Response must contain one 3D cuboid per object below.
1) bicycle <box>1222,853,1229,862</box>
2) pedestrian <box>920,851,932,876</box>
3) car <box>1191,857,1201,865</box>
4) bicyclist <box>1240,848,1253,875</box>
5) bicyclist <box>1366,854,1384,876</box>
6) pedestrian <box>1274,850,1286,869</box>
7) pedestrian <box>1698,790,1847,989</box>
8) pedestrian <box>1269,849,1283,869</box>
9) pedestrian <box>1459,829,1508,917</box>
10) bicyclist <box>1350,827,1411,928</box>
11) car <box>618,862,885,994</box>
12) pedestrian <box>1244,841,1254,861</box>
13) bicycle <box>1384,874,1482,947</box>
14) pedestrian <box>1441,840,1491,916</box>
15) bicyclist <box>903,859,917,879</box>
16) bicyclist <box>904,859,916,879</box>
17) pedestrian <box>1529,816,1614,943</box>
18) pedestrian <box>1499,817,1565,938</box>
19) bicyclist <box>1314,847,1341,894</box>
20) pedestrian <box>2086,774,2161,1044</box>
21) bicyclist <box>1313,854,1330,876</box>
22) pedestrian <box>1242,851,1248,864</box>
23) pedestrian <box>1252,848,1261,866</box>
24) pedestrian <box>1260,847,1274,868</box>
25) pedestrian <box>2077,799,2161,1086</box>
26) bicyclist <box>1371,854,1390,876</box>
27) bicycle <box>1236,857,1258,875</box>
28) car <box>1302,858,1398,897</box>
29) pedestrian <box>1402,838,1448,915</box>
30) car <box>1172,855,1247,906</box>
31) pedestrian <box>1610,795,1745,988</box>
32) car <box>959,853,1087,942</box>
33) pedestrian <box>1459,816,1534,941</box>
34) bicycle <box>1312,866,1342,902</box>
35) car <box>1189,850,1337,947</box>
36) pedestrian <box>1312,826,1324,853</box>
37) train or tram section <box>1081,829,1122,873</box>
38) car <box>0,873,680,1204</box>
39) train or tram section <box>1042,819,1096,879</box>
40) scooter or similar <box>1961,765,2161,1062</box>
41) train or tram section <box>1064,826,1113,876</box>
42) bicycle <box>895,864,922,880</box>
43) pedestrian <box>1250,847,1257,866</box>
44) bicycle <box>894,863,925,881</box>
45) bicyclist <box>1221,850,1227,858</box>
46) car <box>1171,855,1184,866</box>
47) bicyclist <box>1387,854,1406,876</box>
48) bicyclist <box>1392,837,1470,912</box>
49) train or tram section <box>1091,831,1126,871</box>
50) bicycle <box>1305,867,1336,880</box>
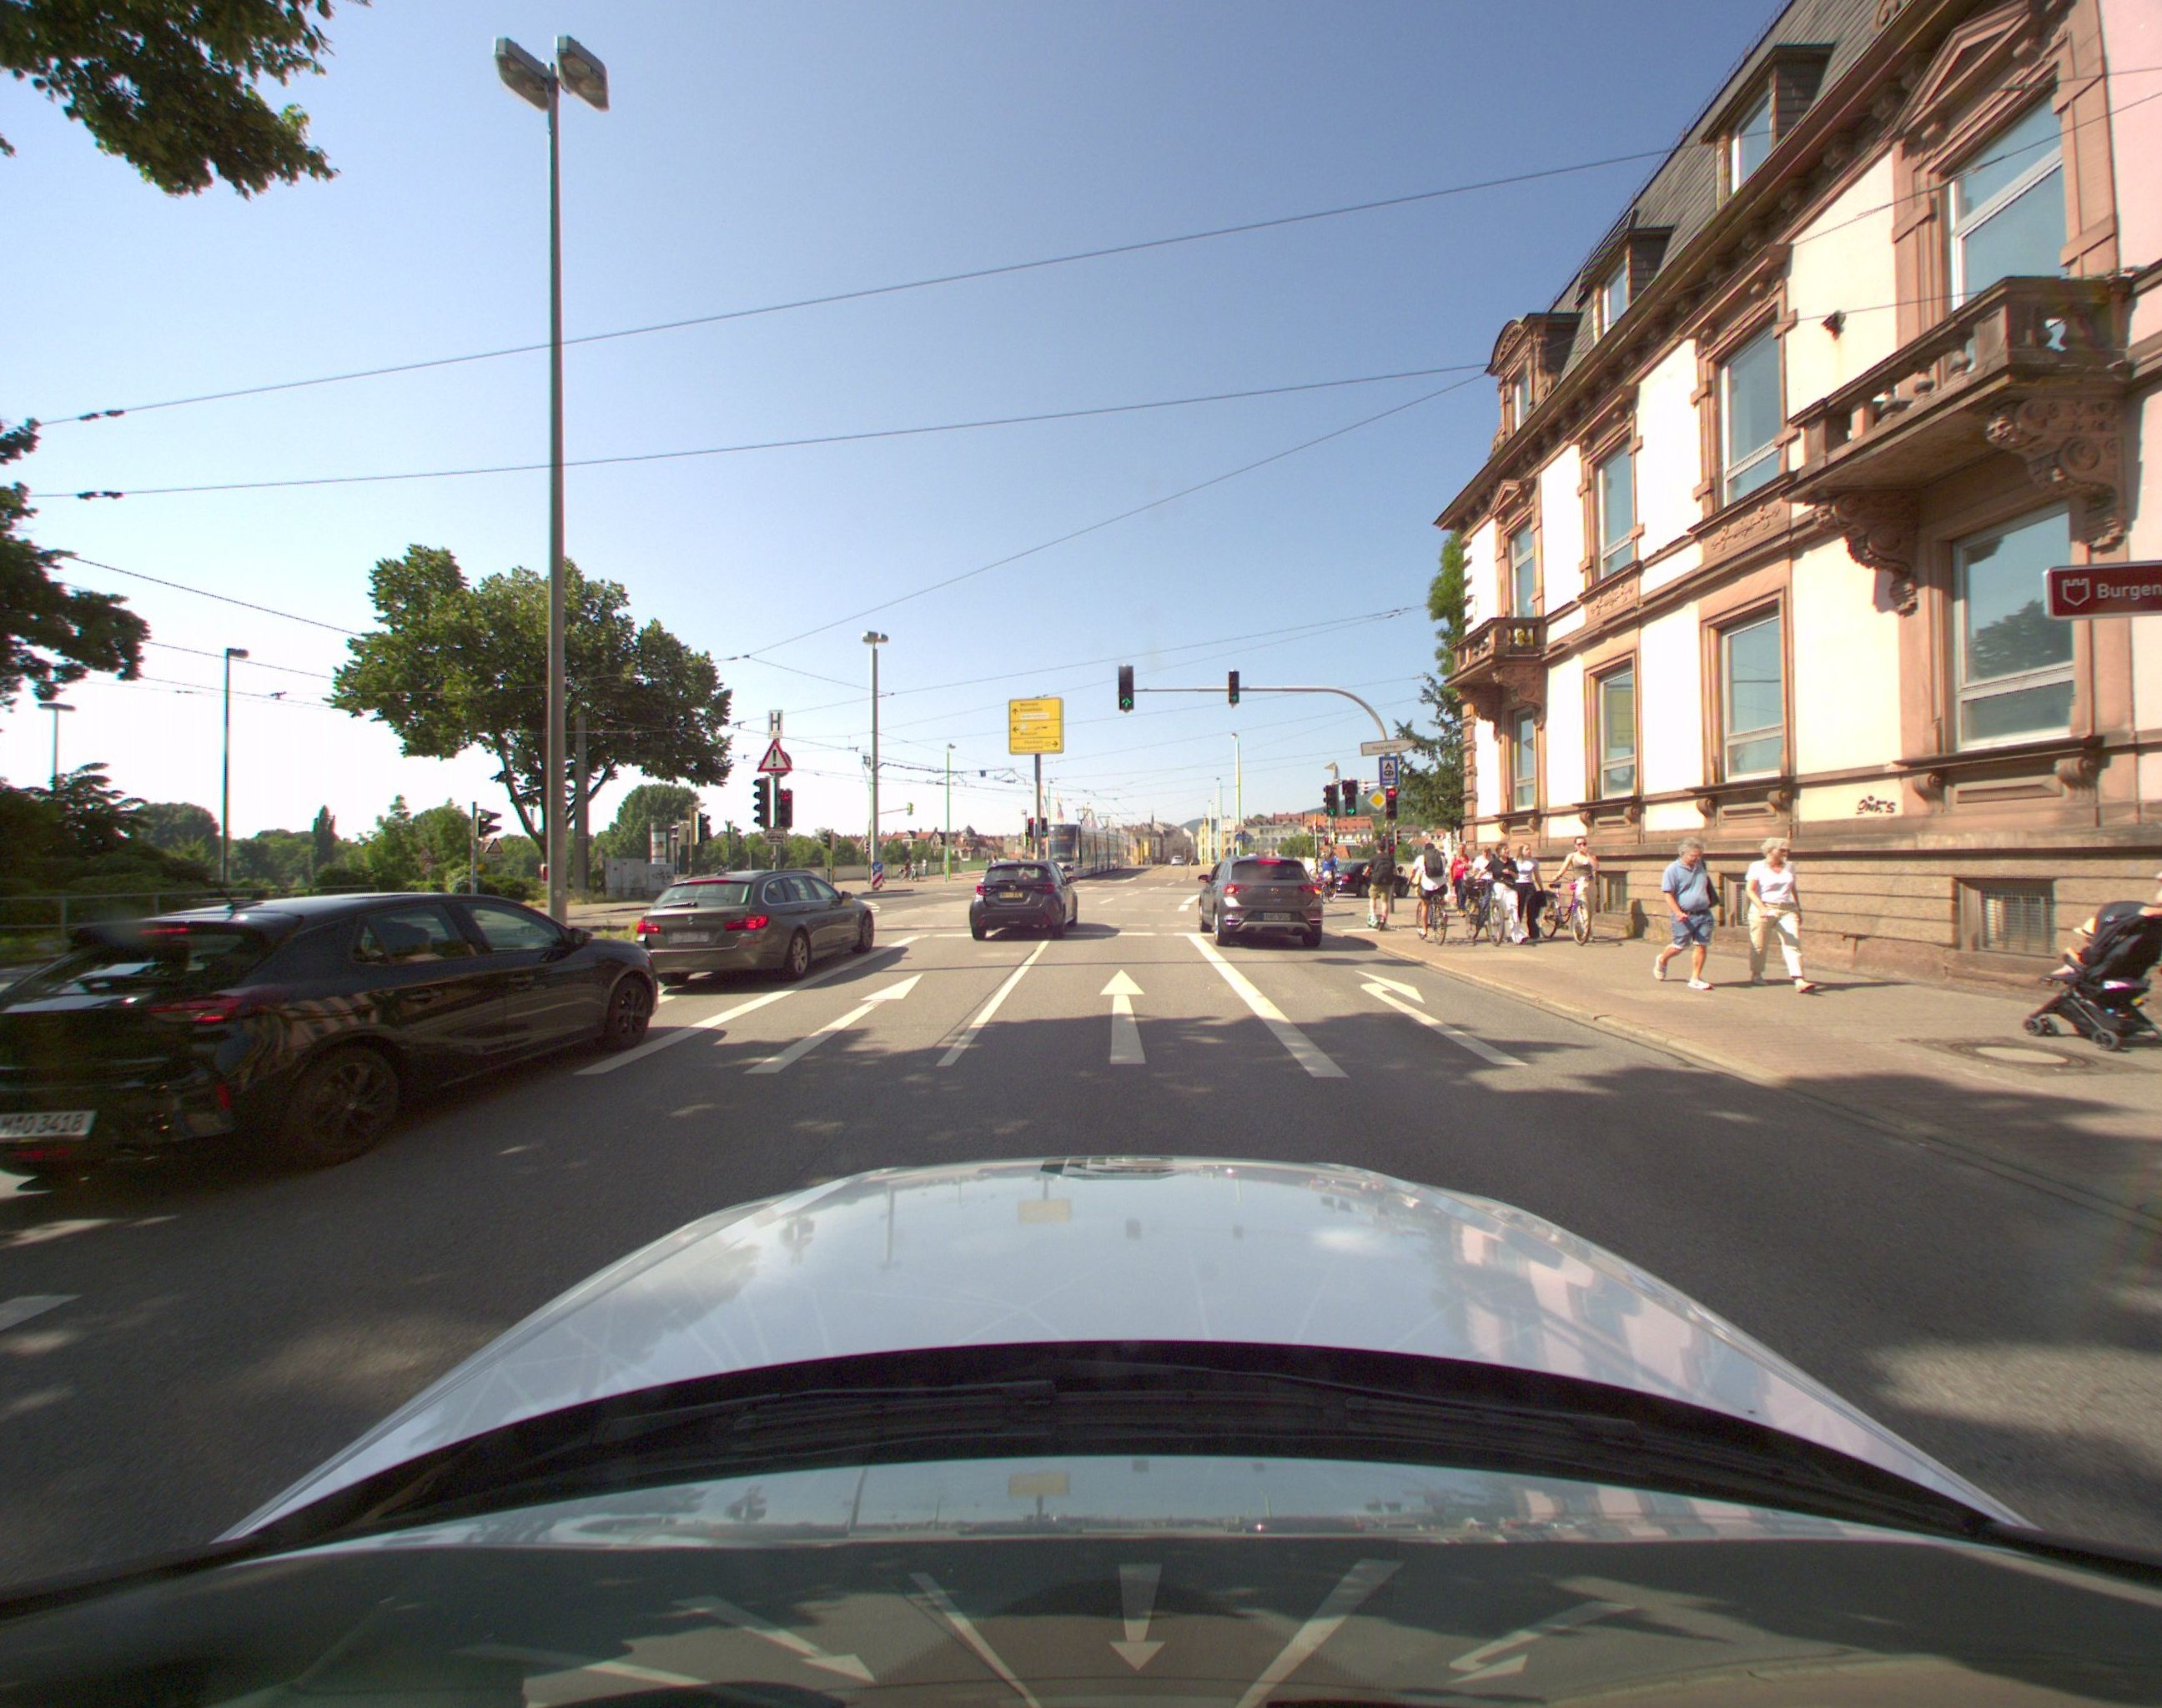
[{"bbox_3d":[20.912,0.520,118.078,0.692,1.194,2.081,-1,-2,3],"label":"bicycle"},{"bbox_3d":[-12.892,0.813,67.678,0.900,2.014,0.830,-1,-1,-15],"label":"pedestrian"},{"bbox_3d":[22.299,1.454,157.795,1.793,1.469,4.010,-2,-1,9],"label":"car"},{"bbox_3d":[10.661,0.493,52.528,0.670,1.744,1.151,-1,-1,3],"label":"bicyclist"},{"bbox_3d":[20.431,0.743,56.593,1.072,1.474,0.931,1,0,13],"label":"bicyclist"},{"bbox_3d":[17.049,0.460,69.818,0.796,1.635,0.950,-1,-1,1],"label":"pedestrian"},{"bbox_3d":[7.451,0.371,8.820,0.809,2.013,0.815,-3,-1,1],"label":"pedestrian"},{"bbox_3d":[17.242,0.443,72.074,0.981,1.769,1.254,-1,-1,1],"label":"pedestrian"},{"bbox_3d":[8.866,0.409,17.970,0.632,1.891,0.903,1,0,0],"label":"pedestrian"},{"bbox_3d":[6.216,0.479,16.949,0.938,2.014,0.830,-1,-1,1],"label":"bicyclist"},{"bbox_3d":[-4.479,0.900,12.022,1.740,1.486,4.751,-2,0,3],"label":"car"},{"bbox_3d":[16.706,-0.266,81.047,0.800,2.014,0.954,0,-1,1],"label":"pedestrian"},{"bbox_3d":[5.988,0.925,14.000,0.776,1.102,2.139,-1,0,1],"label":"bicycle"},{"bbox_3d":[9.085,0.559,19.259,0.703,1.753,0.903,-1,-2,0],"label":"pedestrian"},{"bbox_3d":[-12.876,1.106,61.285,1.005,1.449,0.812,-1,-1,-15],"label":"bicyclist"},{"bbox_3d":[-13.016,1.147,61.962,0.825,1.493,0.872,-1,-1,-15],"label":"bicyclist"},{"bbox_3d":[8.151,0.418,13.567,0.809,2.013,0.815,-3,-1,1],"label":"pedestrian"},{"bbox_3d":[7.790,0.396,14.095,0.658,2.013,0.700,-3,-1,1],"label":"pedestrian"},{"bbox_3d":[8.376,0.542,27.708,0.770,1.553,1.063,-1,0,10],"label":"bicyclist"},{"bbox_3d":[7.561,0.347,5.347,0.809,1.793,0.815,-3,-1,1],"label":"pedestrian"},{"bbox_3d":[16.177,0.741,54.794,1.073,1.474,0.803,1,0,11],"label":"bicyclist"},{"bbox_3d":[21.576,0.469,107.358,0.652,1.743,0.979,0,1,3],"label":"pedestrian"},{"bbox_3d":[17.128,0.304,79.568,0.693,1.716,0.732,0,-1,1],"label":"pedestrian"},{"bbox_3d":[15.957,0.316,70.012,0.981,1.750,0.930,0,-1,1],"label":"pedestrian"},{"bbox_3d":[6.751,0.520,4.877,0.702,1.695,0.629,-1,-2,5],"label":"pedestrian"},{"bbox_3d":[20.515,0.757,55.748,1.069,1.474,0.767,1,0,30],"label":"bicyclist"},{"bbox_3d":[10.554,0.770,51.975,0.789,1.096,3.747,-1,-1,3],"label":"bicycle"},{"bbox_3d":[10.919,0.922,32.954,4.022,1.436,1.976,1,0,-43],"label":"car"},{"bbox_3d":[8.118,0.514,19.251,0.703,1.769,0.903,-1,0,0],"label":"pedestrian"},{"bbox_3d":[4.088,0.806,26.428,1.985,1.486,4.003,-1,0,3],"label":"car"},{"bbox_3d":[6.645,0.403,9.117,0.809,2.013,0.815,-3,-1,1],"label":"pedestrian"},{"bbox_3d":[-1.023,0.788,16.598,1.901,1.540,4.006,-2,0,5],"label":"car"},{"bbox_3d":[6.943,0.403,13.648,0.809,2.014,0.815,-2,-1,1],"label":"pedestrian"},{"bbox_3d":[8.394,0.993,27.875,0.612,1.164,2.254,0,0,7],"label":"bicycle"},{"bbox_3d":[3.198,0.727,15.134,1.922,1.516,3.994,-1,0,1],"label":"car"},{"bbox_3d":[16.197,-1.005,55.671,0.769,1.855,0.646,0,0,10],"label":"pedestrian"},{"bbox_3d":[1.971,-0.276,73.461,2.389,3.681,9.644,-1,0,9],"label":"train or tram section"},{"bbox_3d":[-4.758,0.890,5.696,1.786,1.411,4.002,-1,0,2],"label":"car"},{"bbox_3d":[-0.716,-0.337,56.698,2.524,3.777,9.186,-1,0,7],"label":"train or tram section"},{"bbox_3d":[7.536,0.400,6.089,0.690,2.014,1.096,-1,0,1],"label":"scooter or similar"},{"bbox_3d":[0.755,-0.224,66.623,2.522,3.777,9.194,-1,0,10],"label":"train or tram section"},{"bbox_3d":[-13.129,1.373,61.971,1.972,1.209,0.636,-1,-1,-15],"label":"bicycle"},{"bbox_3d":[16.740,0.268,78.883,0.547,1.799,0.646,0,-1,1],"label":"pedestrian"},{"bbox_3d":[-12.885,1.353,61.250,2.241,1.279,0.736,-1,-1,-15],"label":"bicycle"},{"bbox_3d":[20.827,-0.012,118.444,0.664,1.045,0.981,-6,-2,3],"label":"bicyclist"},{"bbox_3d":[14.750,1.016,124.334,1.796,1.469,4.004,-2,-1,4],"label":"car"},{"bbox_3d":[21.607,0.731,55.802,1.072,1.474,0.932,1,0,15],"label":"bicyclist"},{"bbox_3d":[5.984,0.339,13.980,0.917,1.219,0.972,-1,0,1],"label":"bicyclist"},{"bbox_3d":[2.907,-0.322,82.633,2.457,3.777,11.872,-1,0,7],"label":"train or tram section"},{"bbox_3d":[16.108,1.297,54.815,1.926,0.827,0.567,1,0,11],"label":"bicycle"}]
